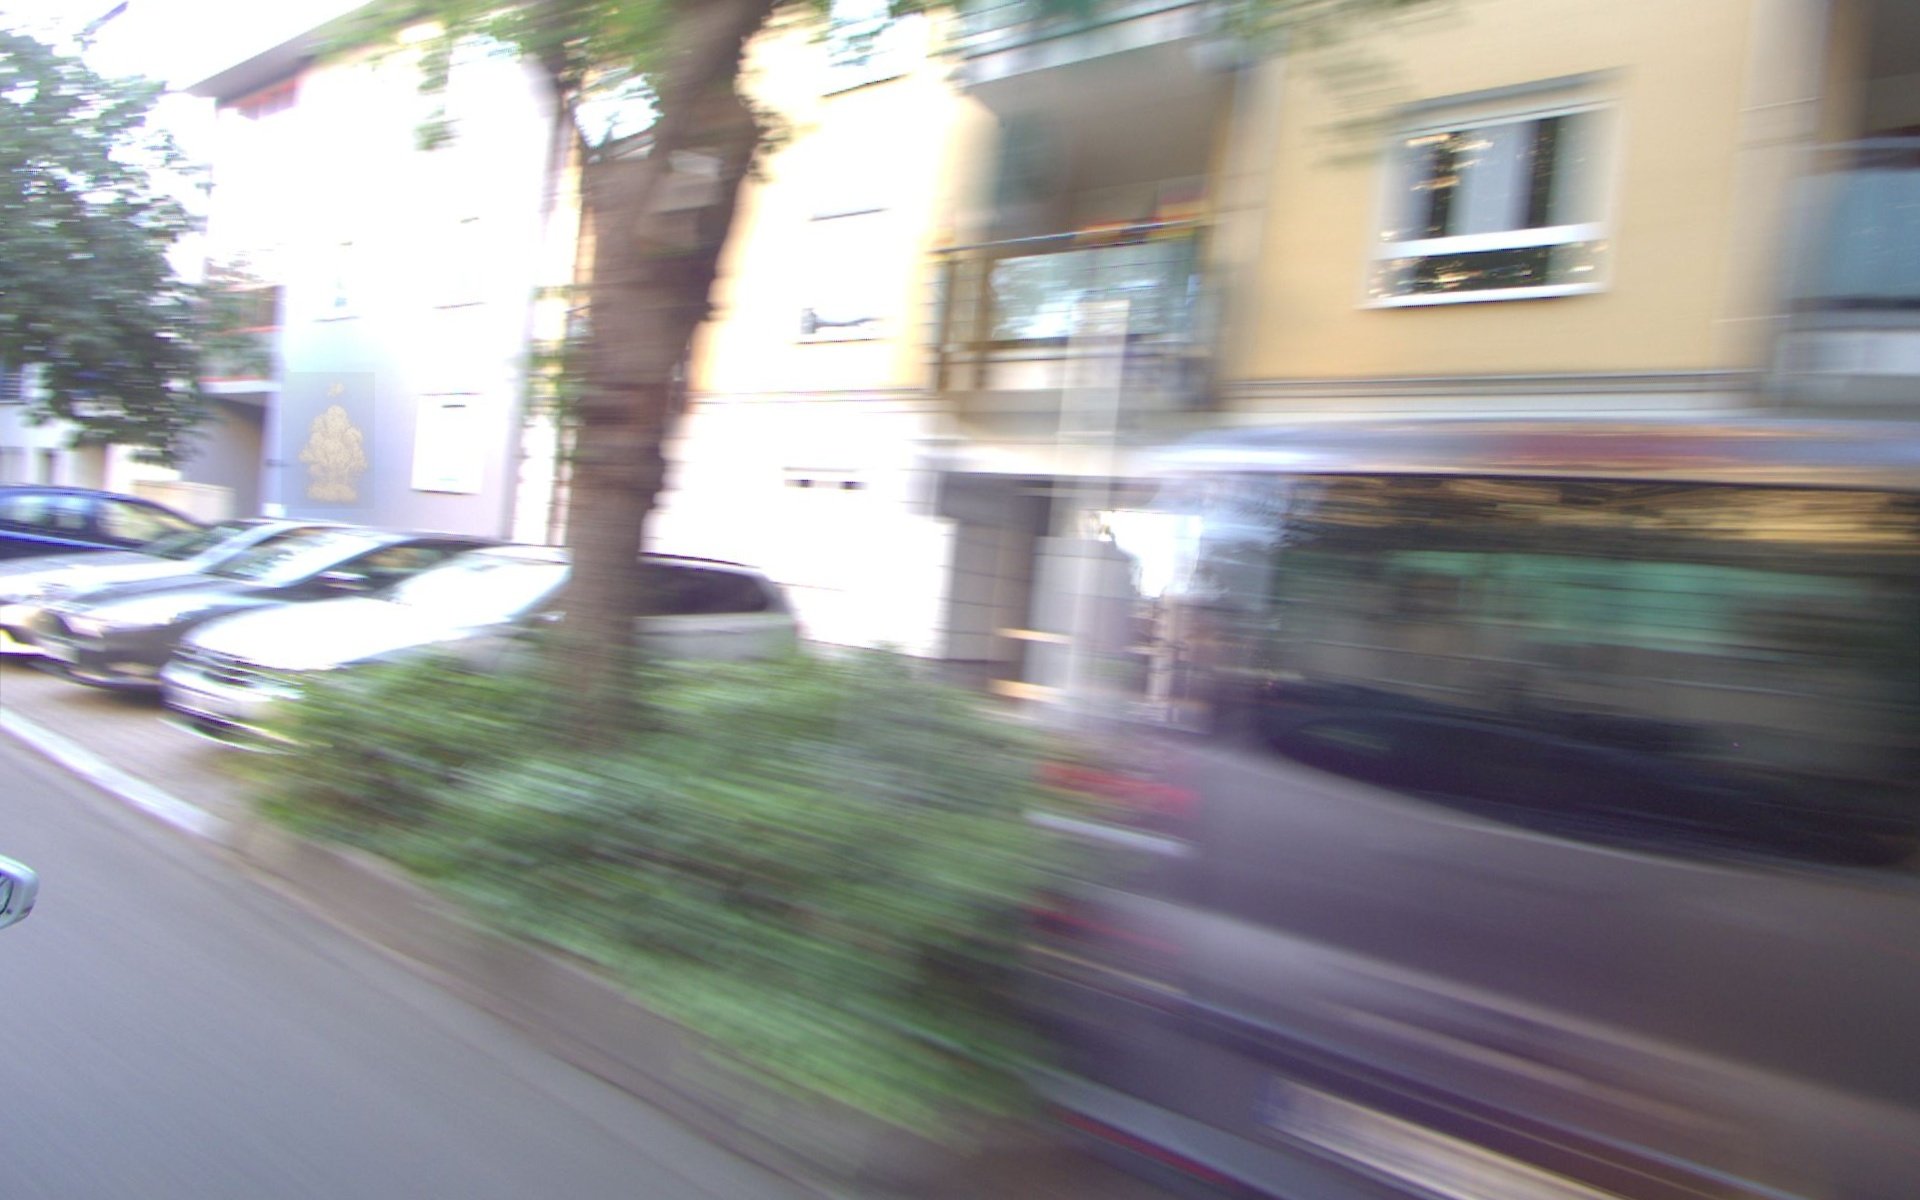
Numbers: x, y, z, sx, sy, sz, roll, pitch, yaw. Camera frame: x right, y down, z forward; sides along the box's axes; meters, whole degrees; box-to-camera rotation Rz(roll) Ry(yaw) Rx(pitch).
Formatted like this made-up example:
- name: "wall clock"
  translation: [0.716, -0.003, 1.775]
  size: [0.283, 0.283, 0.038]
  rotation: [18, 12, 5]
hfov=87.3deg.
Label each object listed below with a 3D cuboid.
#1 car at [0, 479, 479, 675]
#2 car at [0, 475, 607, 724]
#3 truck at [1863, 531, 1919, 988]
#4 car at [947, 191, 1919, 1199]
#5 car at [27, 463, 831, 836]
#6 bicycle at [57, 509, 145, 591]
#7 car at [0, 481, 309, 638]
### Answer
- name: "car"
  translation: [-7.410, -0.146, 10.189]
  size: [1.838, 1.526, 4.290]
  rotation: [7, 0, 25]
- name: "car"
  translation: [-5.429, 0.081, 8.826]
  size: [1.822, 1.582, 4.072]
  rotation: [7, 0, 31]
- name: "truck"
  translation: [4.381, 0.787, 2.370]
  size: [2.224, 2.163, 5.999]
  rotation: [7, 4, 33]
- name: "car"
  translation: [2.132, 0.492, 3.609]
  size: [2.003, 2.163, 4.616]
  rotation: [7, 4, 33]
- name: "car"
  translation: [-3.216, 0.335, 7.284]
  size: [1.805, 1.725, 4.802]
  rotation: [7, 0, 31]
- name: "bicycle"
  translation: [-13.882, -0.809, 16.253]
  size: [1.476, 1.189, 0.725]
  rotation: [7, 5, 34]
- name: "car"
  translation: [-9.590, -0.445, 11.313]
  size: [1.718, 1.546, 3.349]
  rotation: [7, 2, 34]
